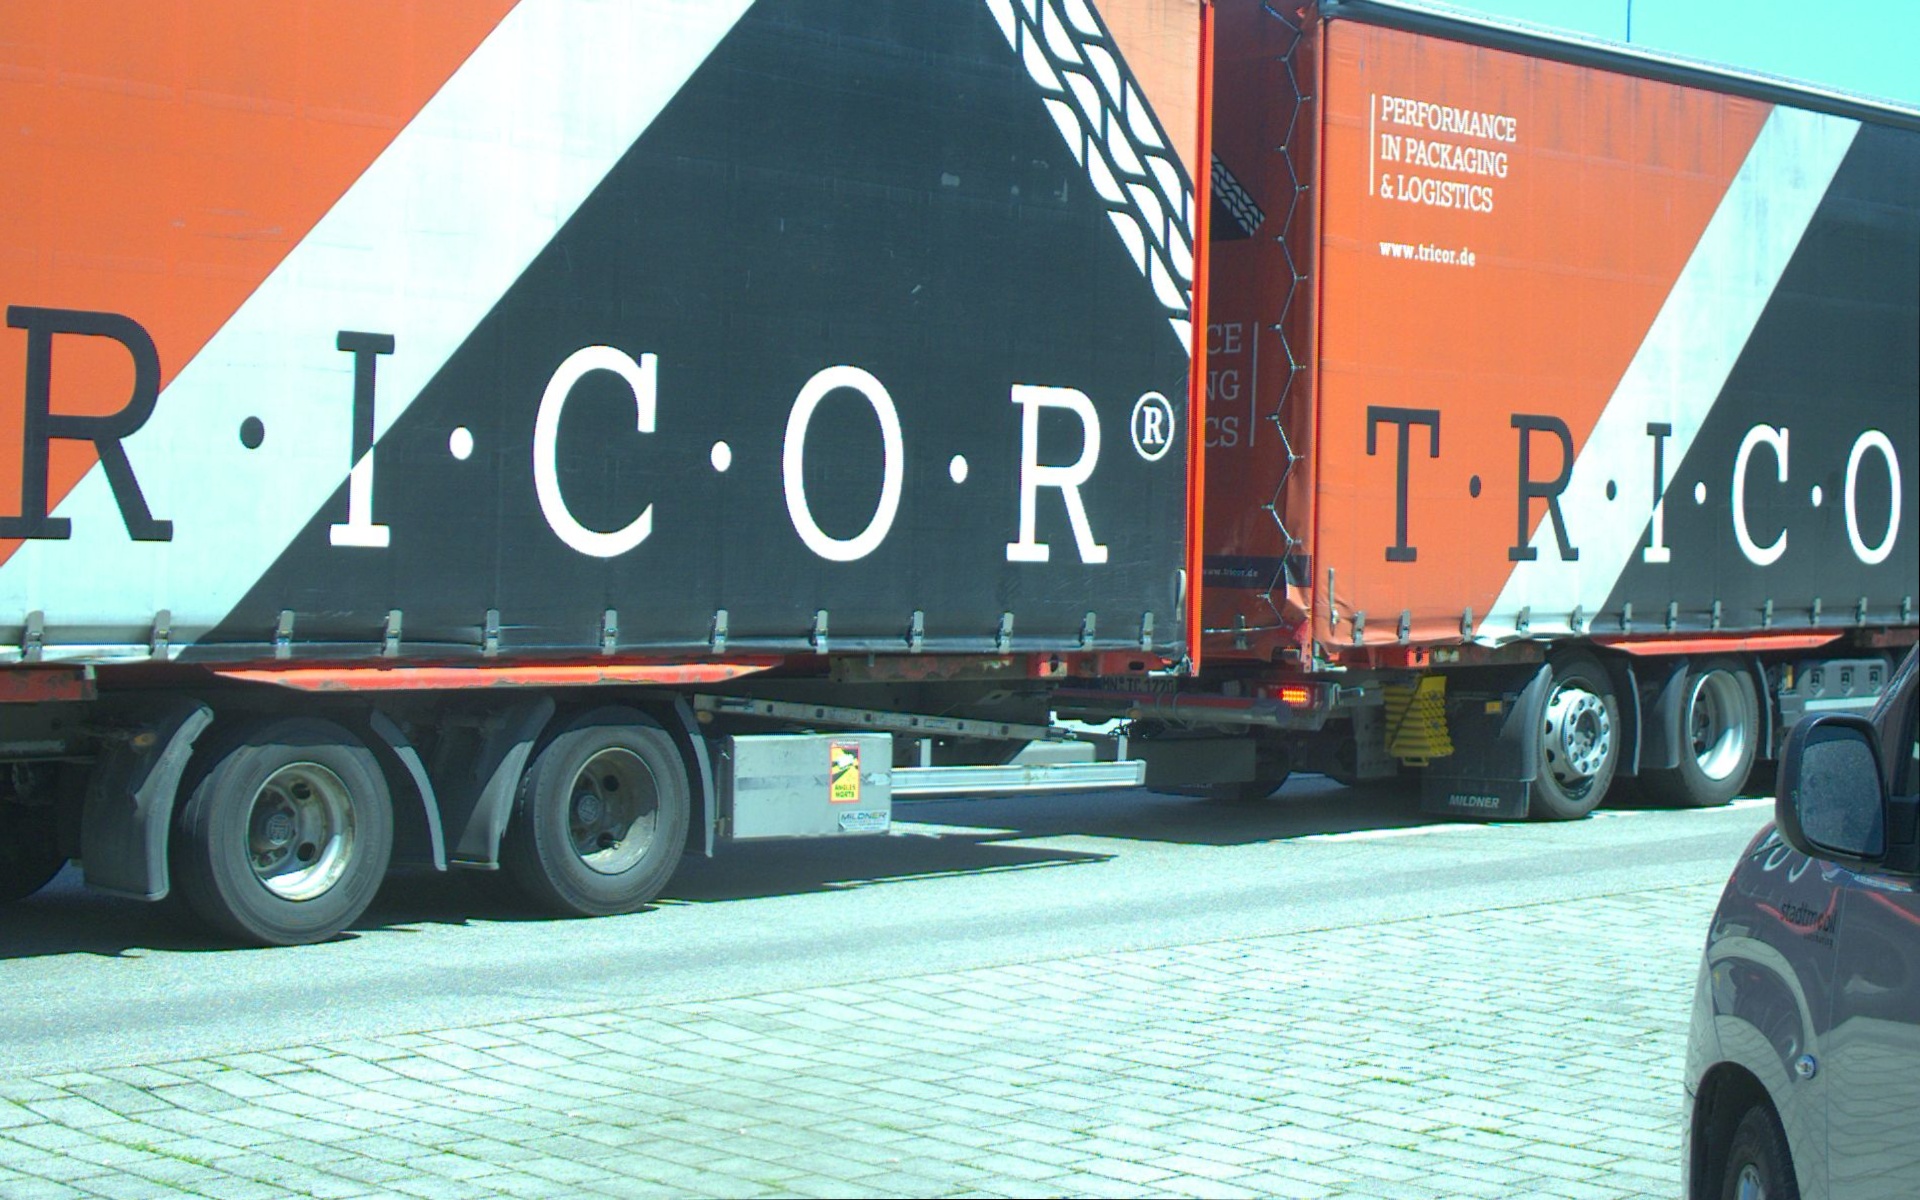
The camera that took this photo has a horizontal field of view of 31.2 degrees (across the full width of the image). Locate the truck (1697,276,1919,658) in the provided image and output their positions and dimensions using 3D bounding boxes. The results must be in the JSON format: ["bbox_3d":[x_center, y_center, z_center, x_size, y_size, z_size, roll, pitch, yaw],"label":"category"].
[{"bbox_3d":[11.732,-1.479,39.814,2.904,4.110,14.528,3,2,-1],"label":"truck"}]

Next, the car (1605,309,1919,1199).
[{"bbox_3d":[2.135,0.539,3.802,1.825,1.747,4.001,1,2,-4],"label":"car"}]

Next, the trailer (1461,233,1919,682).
[{"bbox_3d":[8.142,-1.541,38.483,2.876,4.110,13.572,1,2,-1],"label":"trailer"}]

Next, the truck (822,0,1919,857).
[{"bbox_3d":[3.864,-1.040,20.037,2.692,4.113,10.579,2,2,42],"label":"truck"}]

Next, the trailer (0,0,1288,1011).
[{"bbox_3d":[-2.527,-0.941,12.993,2.841,4.243,8.664,2,2,42],"label":"trailer"}]
